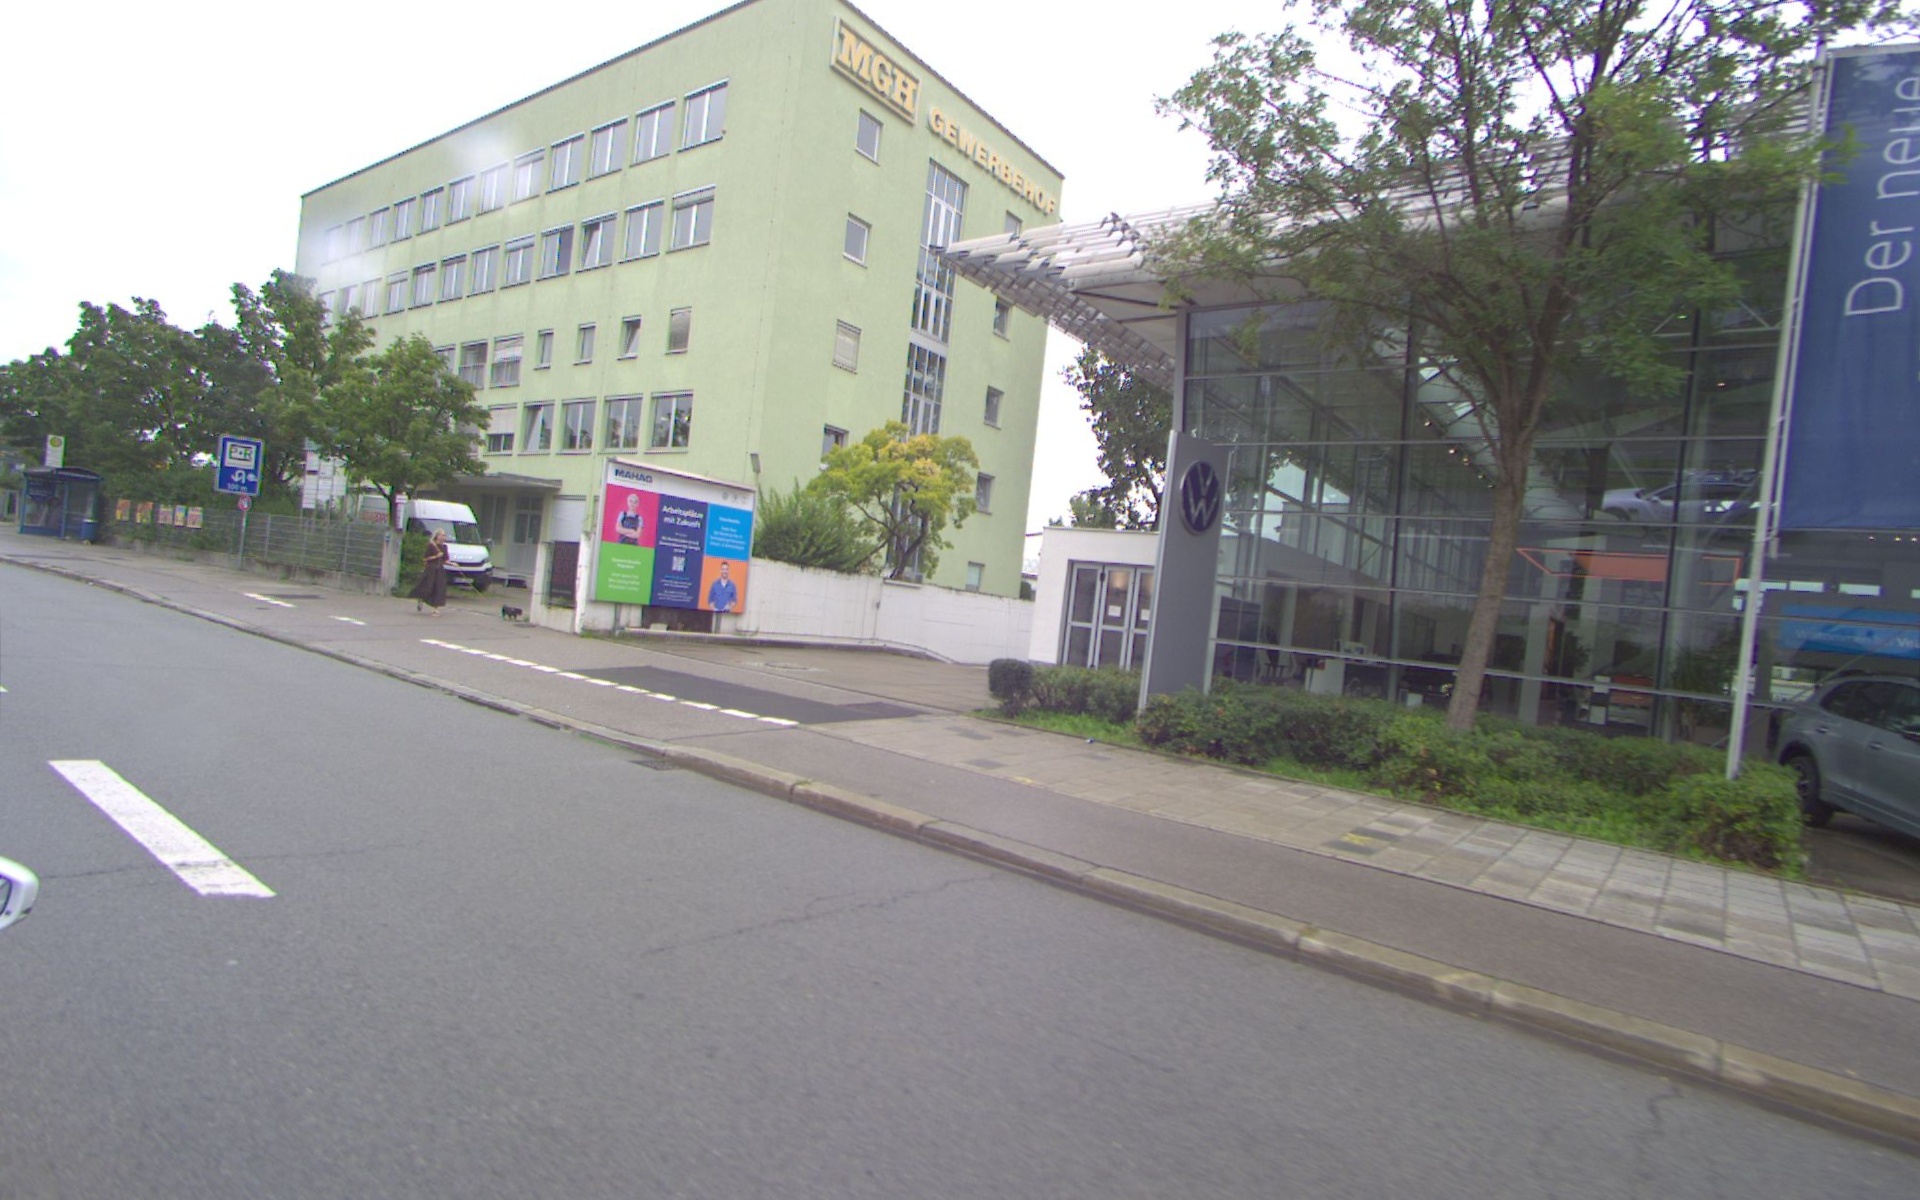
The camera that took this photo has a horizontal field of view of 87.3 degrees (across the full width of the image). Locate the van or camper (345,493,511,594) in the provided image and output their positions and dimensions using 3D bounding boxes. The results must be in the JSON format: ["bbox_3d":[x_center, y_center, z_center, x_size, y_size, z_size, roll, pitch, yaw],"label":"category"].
[{"bbox_3d":[-16.471,-1.827,30.876,7.290,2.527,2.120,6,0,44],"label":"van or camper"}]

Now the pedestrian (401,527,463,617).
[{"bbox_3d":[-10.786,-0.573,20.553,0.881,1.752,0.757,7,4,37],"label":"pedestrian"}]

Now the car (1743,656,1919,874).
[{"bbox_3d":[9.404,1.555,9.139,1.970,1.729,4.602,5,1,17],"label":"car"}]
